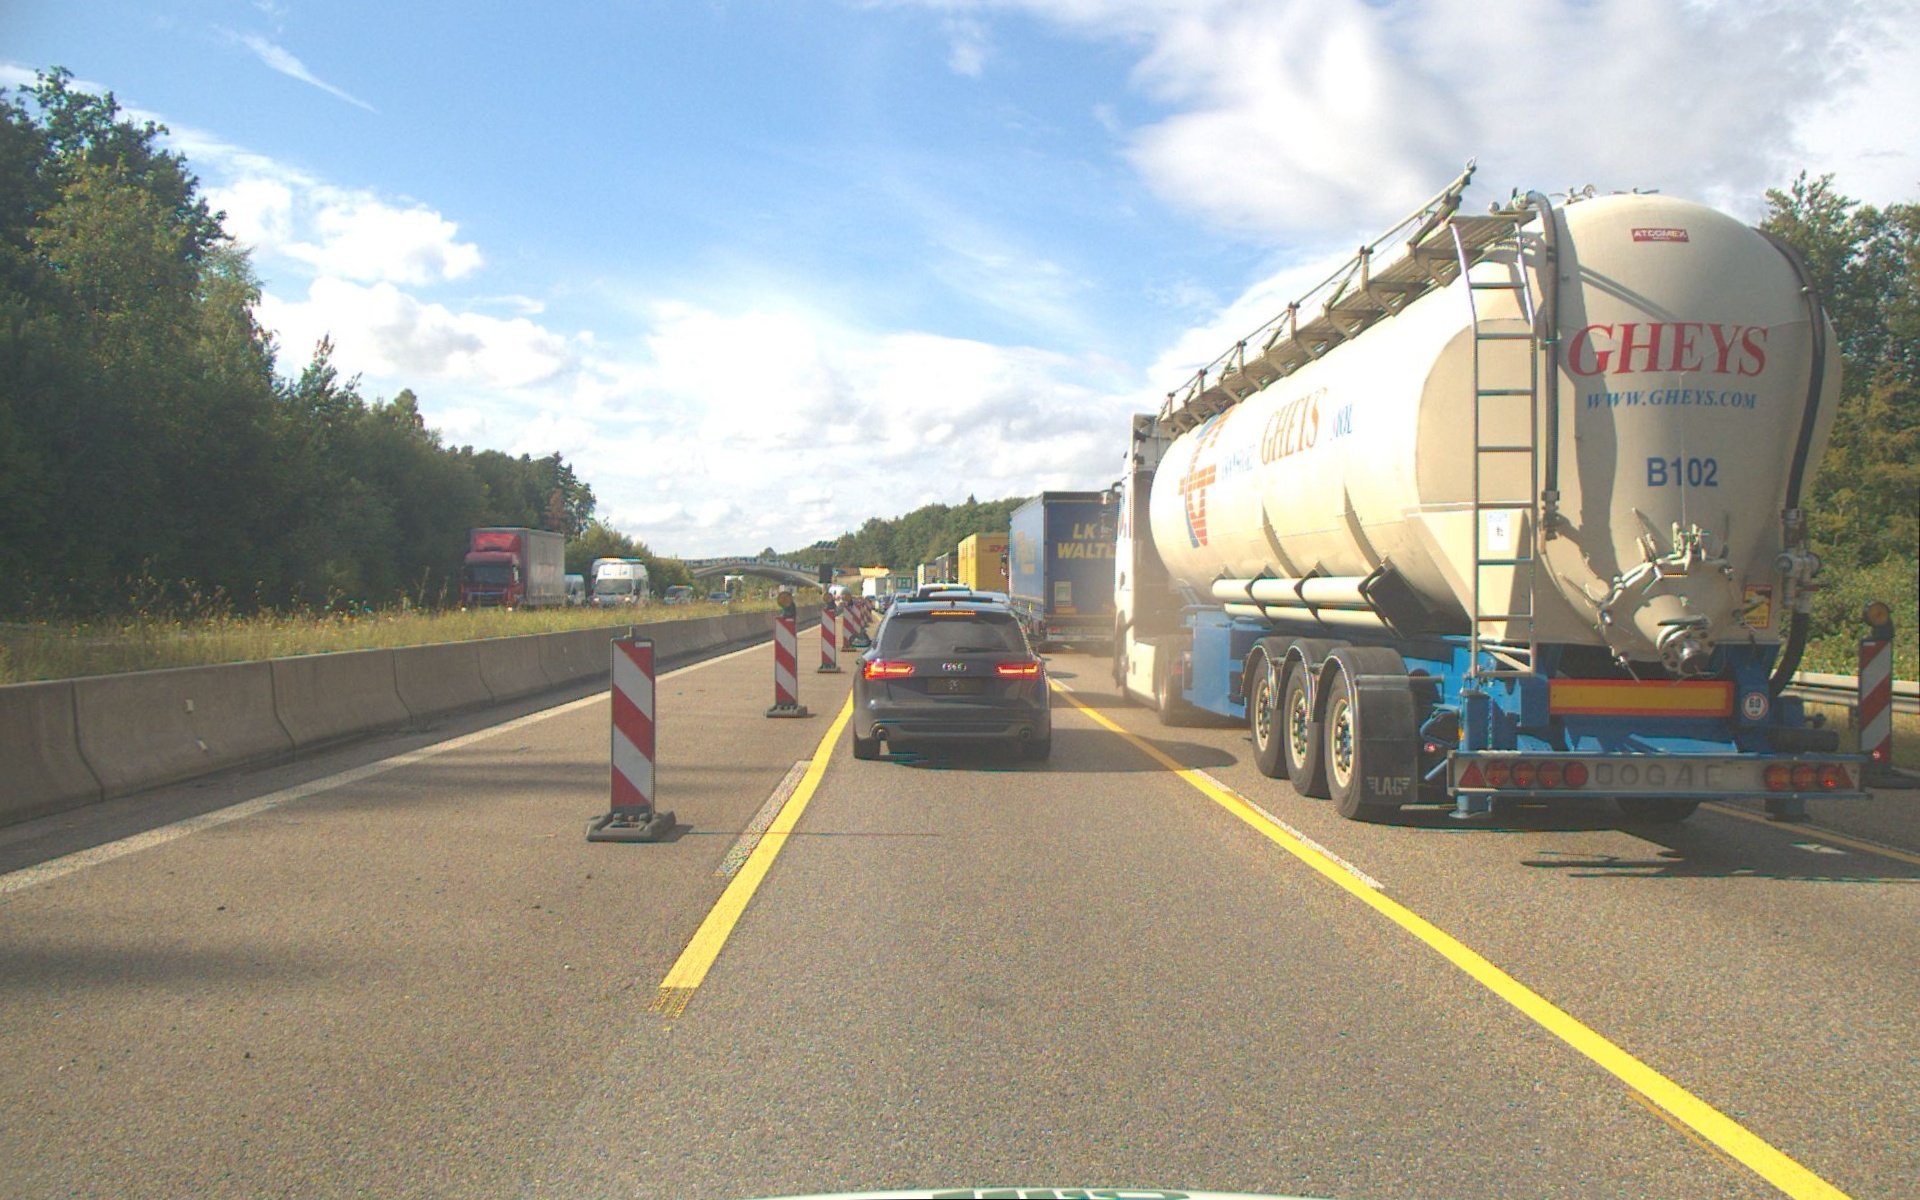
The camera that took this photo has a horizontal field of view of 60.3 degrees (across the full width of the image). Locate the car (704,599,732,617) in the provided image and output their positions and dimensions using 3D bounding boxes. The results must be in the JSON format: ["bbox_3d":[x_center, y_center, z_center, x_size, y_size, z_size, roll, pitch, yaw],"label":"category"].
[{"bbox_3d":[-19.928,0.653,136.414,1.743,1.411,4.309,1,0,-1],"label":"car"}]

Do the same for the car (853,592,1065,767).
[{"bbox_3d":[-0.046,0.692,16.172,1.811,1.489,3.999,0,0,-1],"label":"car"}]

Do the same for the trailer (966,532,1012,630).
[{"bbox_3d":[1.203,-0.776,71.221,1.584,3.987,6.486,1,0,-2],"label":"trailer"}]

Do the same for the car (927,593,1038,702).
[{"bbox_3d":[0.274,0.660,24.241,1.493,1.464,3.284,1,0,-1],"label":"car"}]

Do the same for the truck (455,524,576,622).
[{"bbox_3d":[-19.690,-1.146,73.923,2.744,4.062,10.183,1,0,-1],"label":"truck"}]

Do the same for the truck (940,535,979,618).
[{"bbox_3d":[-0.087,-1.424,104.246,1.953,5.000,9.557,1,0,-2],"label":"truck"}]

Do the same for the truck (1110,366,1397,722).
[{"bbox_3d":[3.640,-0.627,21.883,2.605,4.041,5.777,1,0,-1],"label":"truck"}]

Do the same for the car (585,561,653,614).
[{"bbox_3d":[-16.629,-0.595,80.985,2.116,2.494,6.330,1,0,-1],"label":"car"}]

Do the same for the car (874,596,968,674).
[{"bbox_3d":[-0.749,0.659,32.430,1.716,1.421,3.607,1,0,-1],"label":"car"}]

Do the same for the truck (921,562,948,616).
[{"bbox_3d":[-2.130,-0.902,137.537,2.094,4.332,7.069,1,0,-1],"label":"truck"}]

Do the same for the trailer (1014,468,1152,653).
[{"bbox_3d":[3.203,-0.950,45.852,2.748,4.490,10.429,1,0,-1],"label":"trailer"}]

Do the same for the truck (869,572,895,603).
[{"bbox_3d":[-10.896,-1.757,230.523,3.239,4.248,9.694,1,0,-4],"label":"truck"}]

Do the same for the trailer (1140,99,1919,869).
[{"bbox_3d":[3.778,-0.612,15.024,2.590,4.012,12.594,1,0,-1],"label":"trailer"}]

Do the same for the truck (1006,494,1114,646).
[{"bbox_3d":[3.066,-0.875,52.810,2.749,4.446,7.789,1,0,-1],"label":"truck"}]

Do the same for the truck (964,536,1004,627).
[{"bbox_3d":[1.066,-0.803,74.923,1.577,3.965,4.070,1,0,-2],"label":"truck"}]

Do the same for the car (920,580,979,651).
[{"bbox_3d":[-0.312,0.423,46.079,1.549,1.869,3.111,1,0,-1],"label":"car"}]

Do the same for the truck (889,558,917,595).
[{"bbox_3d":[-6.933,-2.799,200.210,3.238,4.248,9.696,1,0,-3],"label":"truck"}]
